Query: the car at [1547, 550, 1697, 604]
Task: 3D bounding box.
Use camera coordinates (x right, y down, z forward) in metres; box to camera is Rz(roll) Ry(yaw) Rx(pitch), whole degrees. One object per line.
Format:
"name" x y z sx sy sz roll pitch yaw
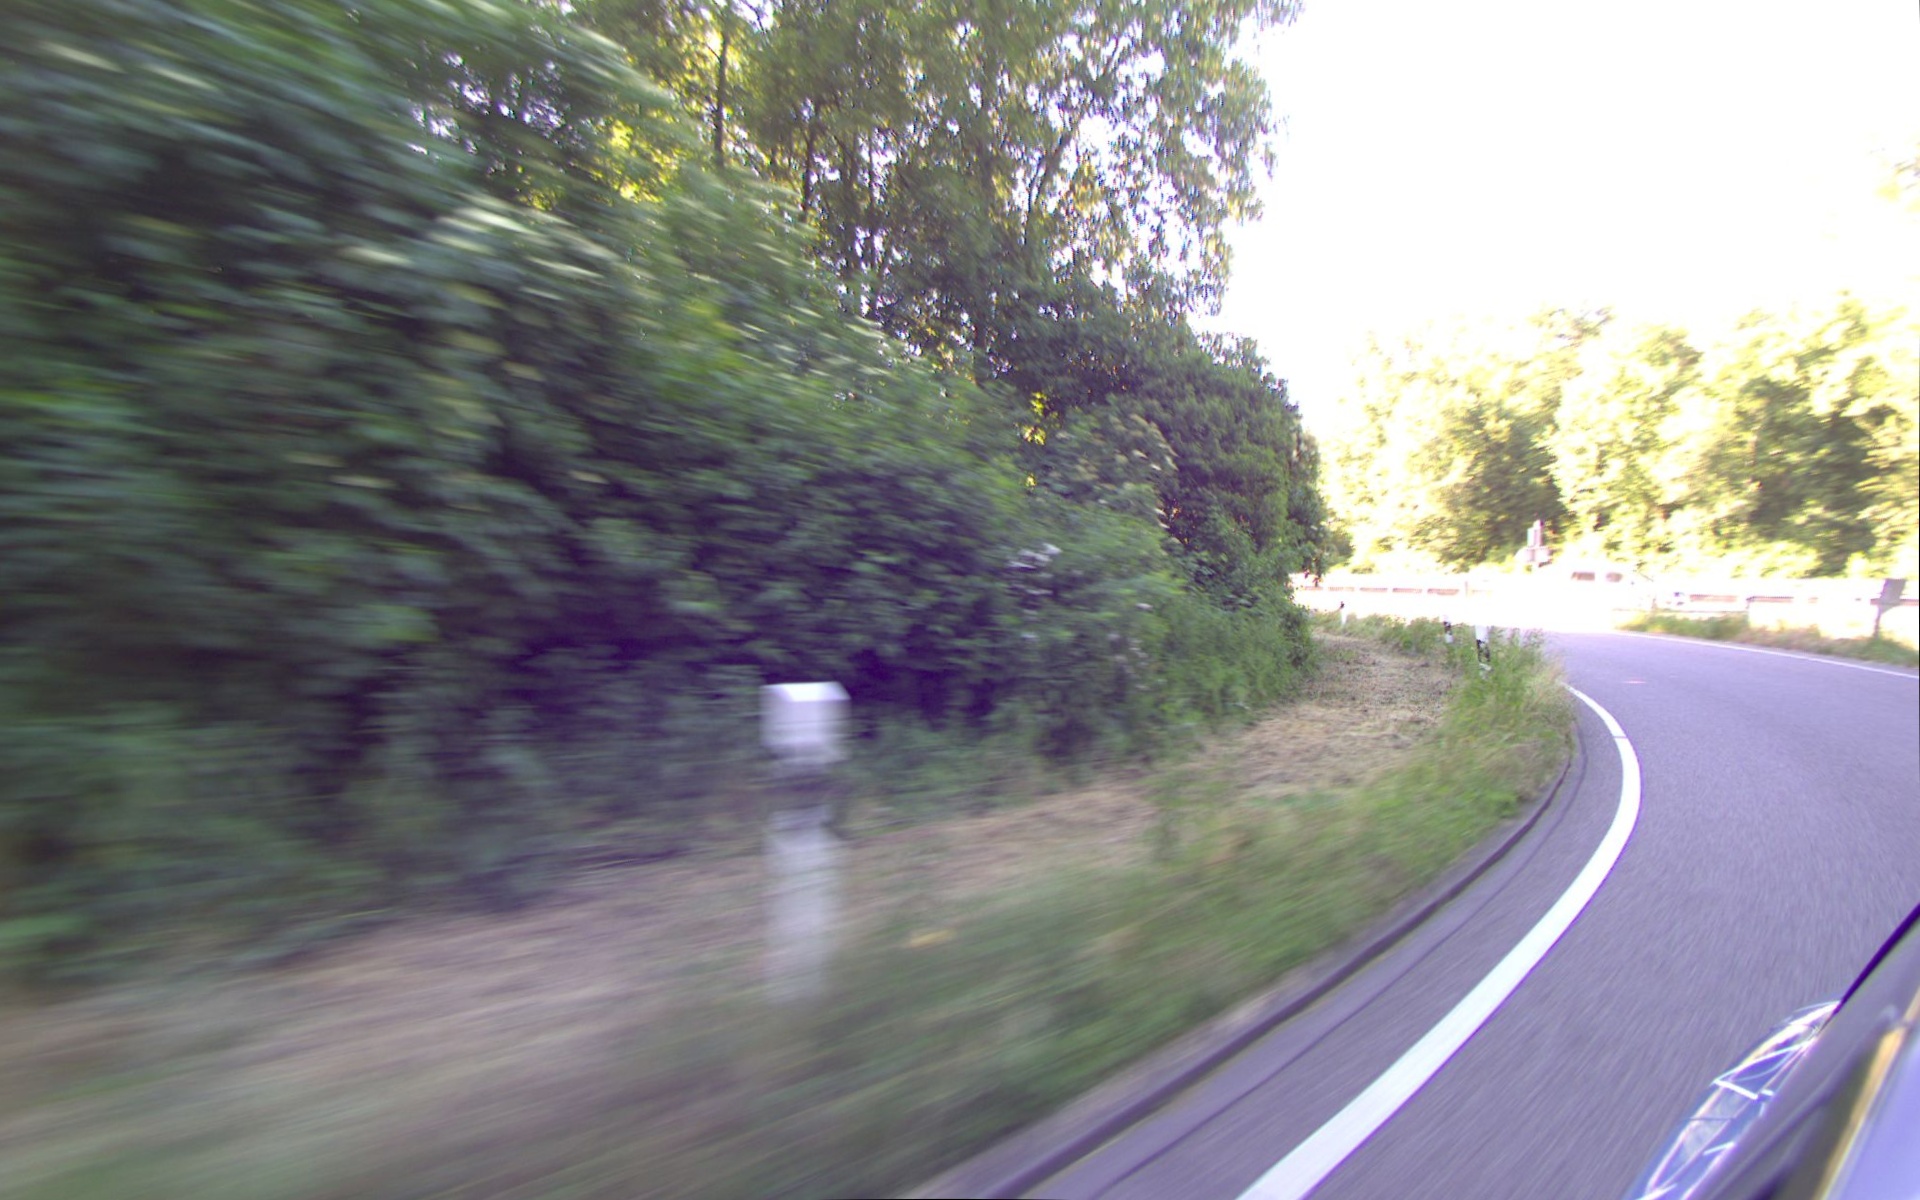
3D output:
"car" 25.143 -0.849 38.575 1.900 1.888 4.350 -4 2 -35

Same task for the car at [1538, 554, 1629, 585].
"car" 33.027 -1.604 53.665 1.715 1.562 3.706 -1 1 -34

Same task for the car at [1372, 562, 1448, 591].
"car" 27.003 -1.402 60.827 1.898 1.642 3.707 -1 1 -32
